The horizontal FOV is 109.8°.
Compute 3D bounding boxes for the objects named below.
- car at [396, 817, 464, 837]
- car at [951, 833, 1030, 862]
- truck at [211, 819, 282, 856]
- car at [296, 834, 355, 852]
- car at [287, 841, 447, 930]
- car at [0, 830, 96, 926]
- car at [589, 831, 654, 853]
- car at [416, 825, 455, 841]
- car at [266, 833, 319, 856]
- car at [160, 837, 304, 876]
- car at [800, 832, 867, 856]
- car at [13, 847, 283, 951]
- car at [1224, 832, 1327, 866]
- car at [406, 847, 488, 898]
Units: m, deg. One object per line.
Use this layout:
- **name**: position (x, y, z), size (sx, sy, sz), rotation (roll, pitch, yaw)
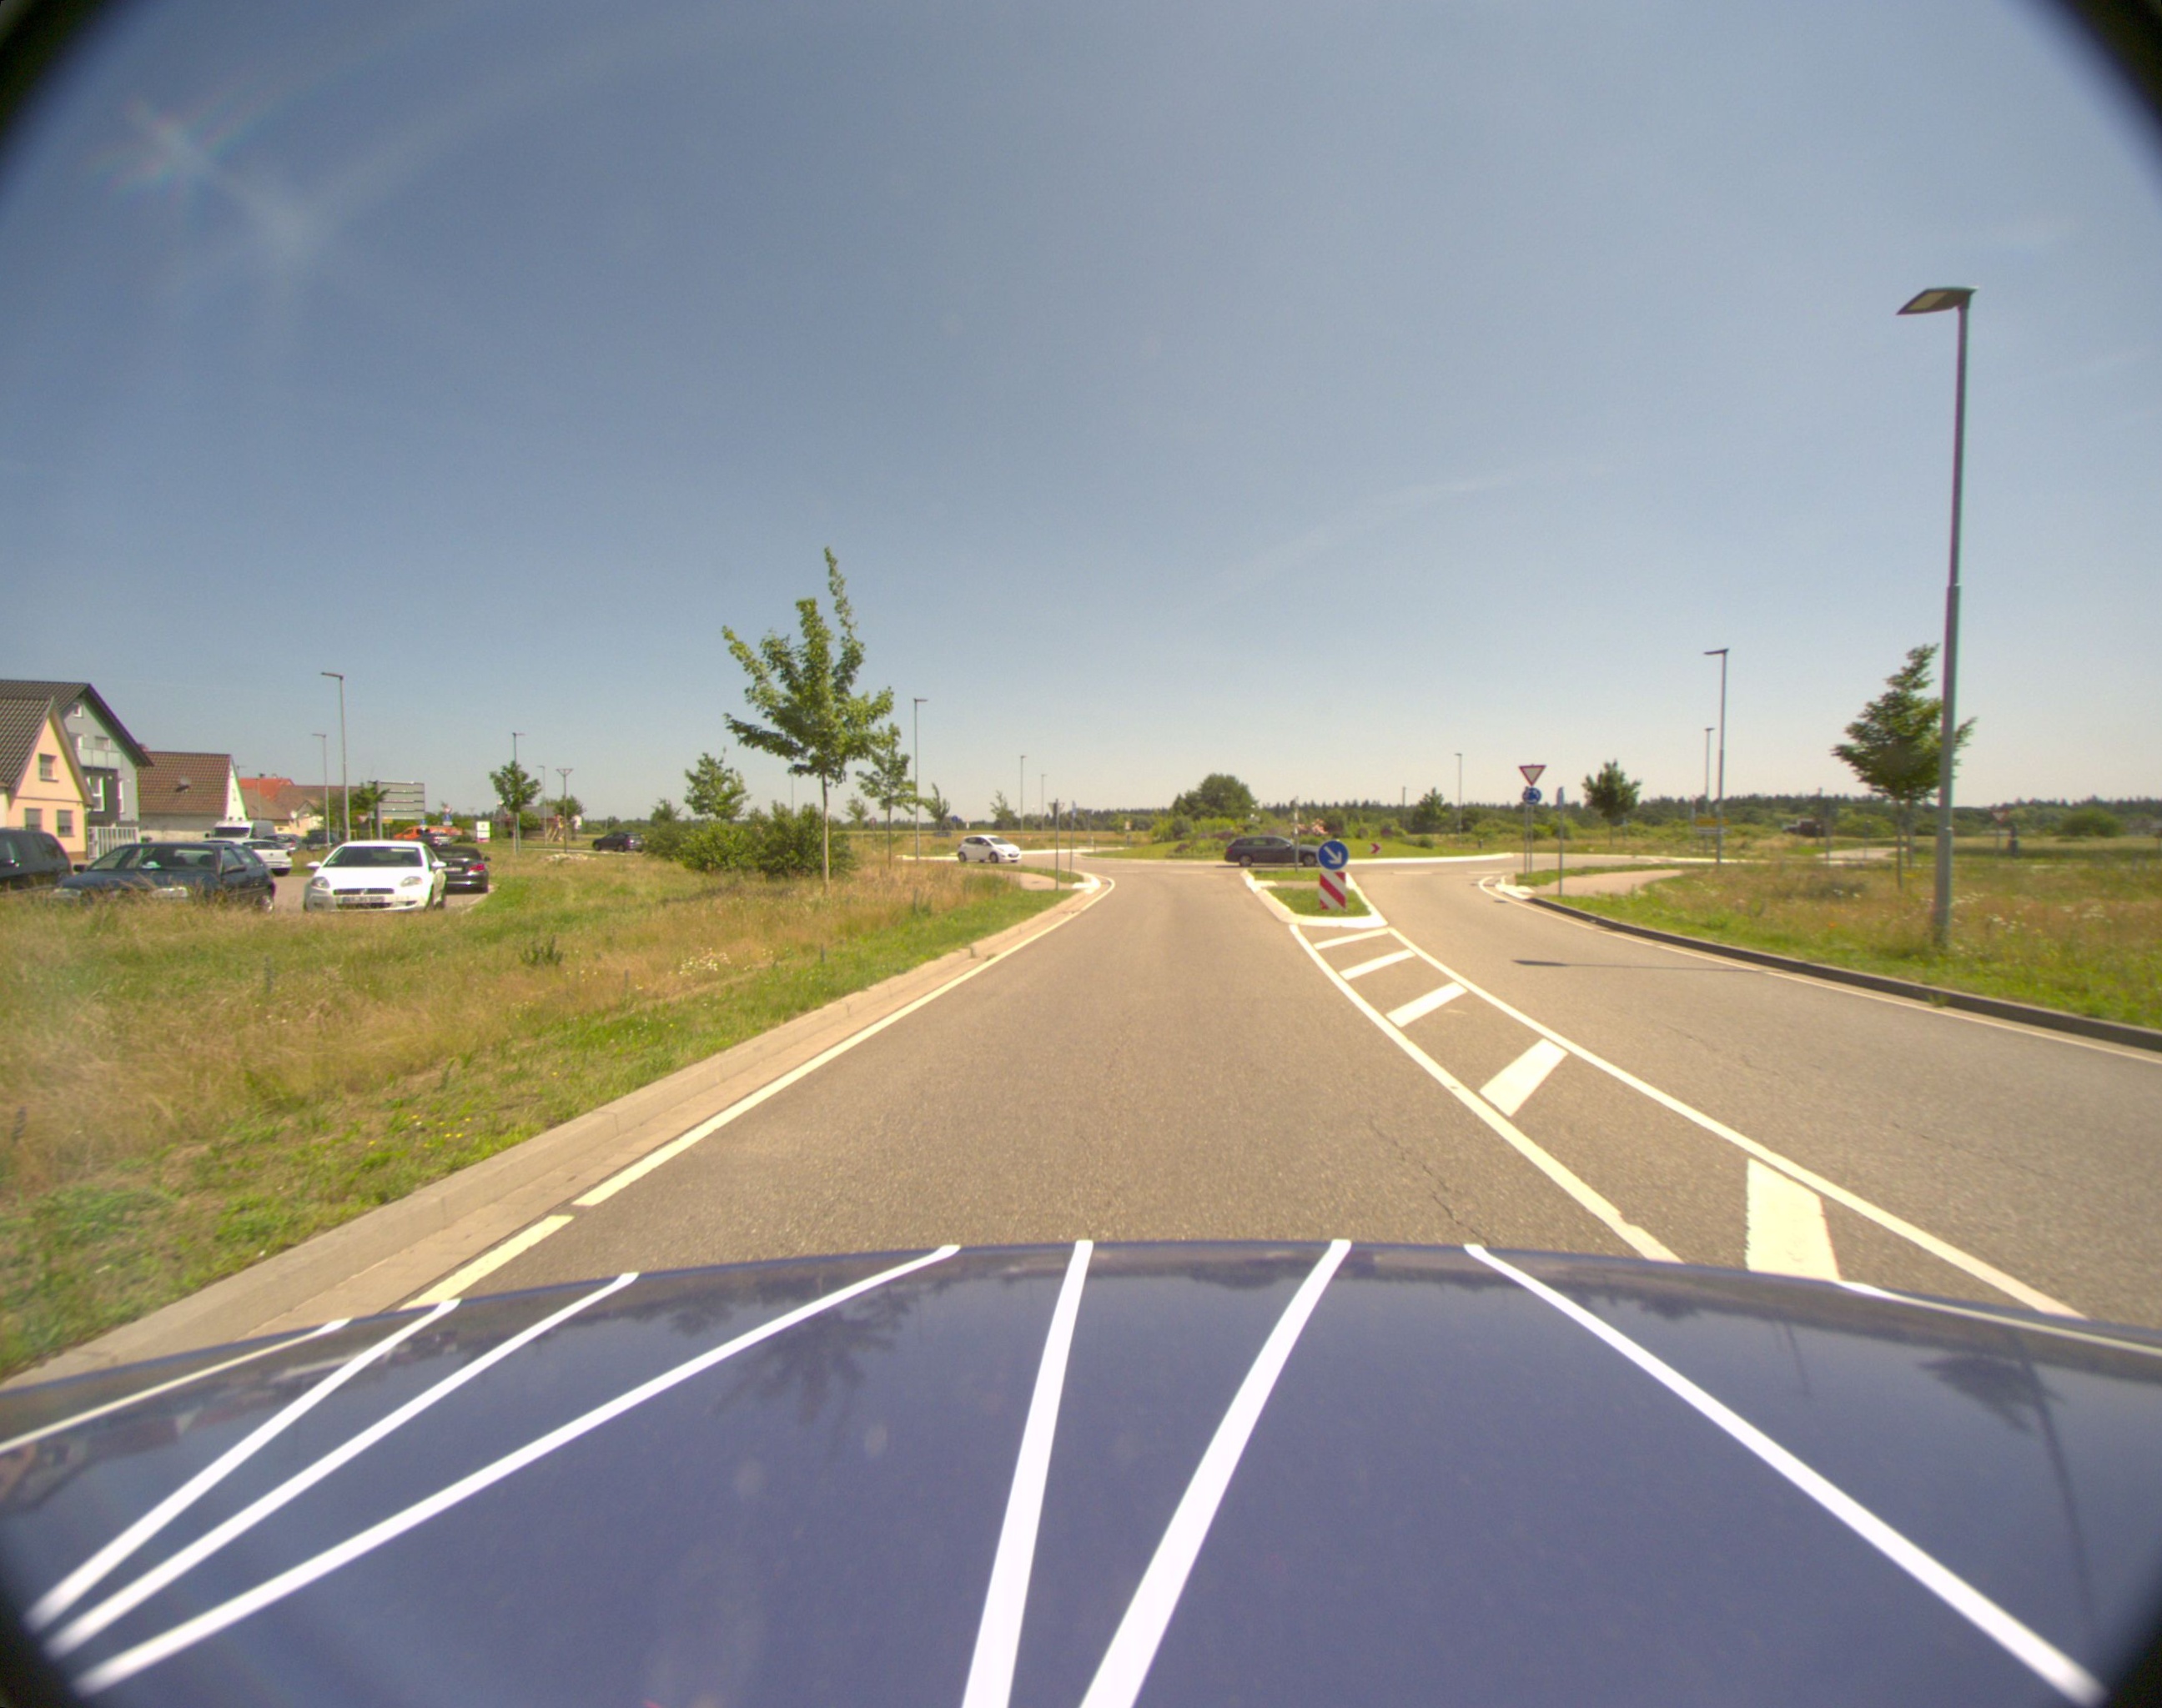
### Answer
- **car**: position (-83.018, -3.444, 97.029), size (6.143, 2.569, 2.351), rotation (-1, 2, -22)
- **car**: position (-5.352, -0.432, 44.535), size (4.507, 1.553, 1.873), rotation (2, 4, 37)
- **truck**: position (-59.684, -1.208, 54.452), size (2.241, 2.492, 5.619), rotation (-2, 3, -36)
- **car**: position (-58.477, -0.864, 58.881), size (1.856, 1.343, 3.759), rotation (-1, 2, -21)
- **car**: position (-13.672, 0.497, 14.783), size (1.750, 1.420, 3.988), rotation (-2, 2, -36)
- **car**: position (-17.294, 0.377, 11.473), size (1.777, 1.434, 3.956), rotation (-2, 1, -34)
- **car**: position (-37.640, -0.984, 62.201), size (4.878, 1.640, 1.956), rotation (-1, 2, 23)
- **car**: position (-66.032, -2.177, 77.727), size (3.988, 1.607, 1.902), rotation (1, 2, 33)
- **car**: position (-52.543, -0.676, 50.705), size (1.858, 1.487, 3.988), rotation (-2, 3, -38)
- **car**: position (-32.386, 0.068, 29.034), size (3.995, 1.385, 1.651), rotation (0, 2, 7)
- **car**: position (-16.392, -0.688, 50.322), size (4.140, 1.553, 1.724), rotation (1, 3, 24)
- **car**: position (-15.387, 0.636, 12.846), size (1.777, 1.434, 3.956), rotation (-2, 1, -34)
- **car**: position (9.056, -0.253, 35.419), size (4.511, 1.427, 1.870), rotation (1, 4, 17)
- **car**: position (-19.104, 0.477, 22.871), size (1.751, 1.304, 3.988), rotation (-2, 3, -41)
